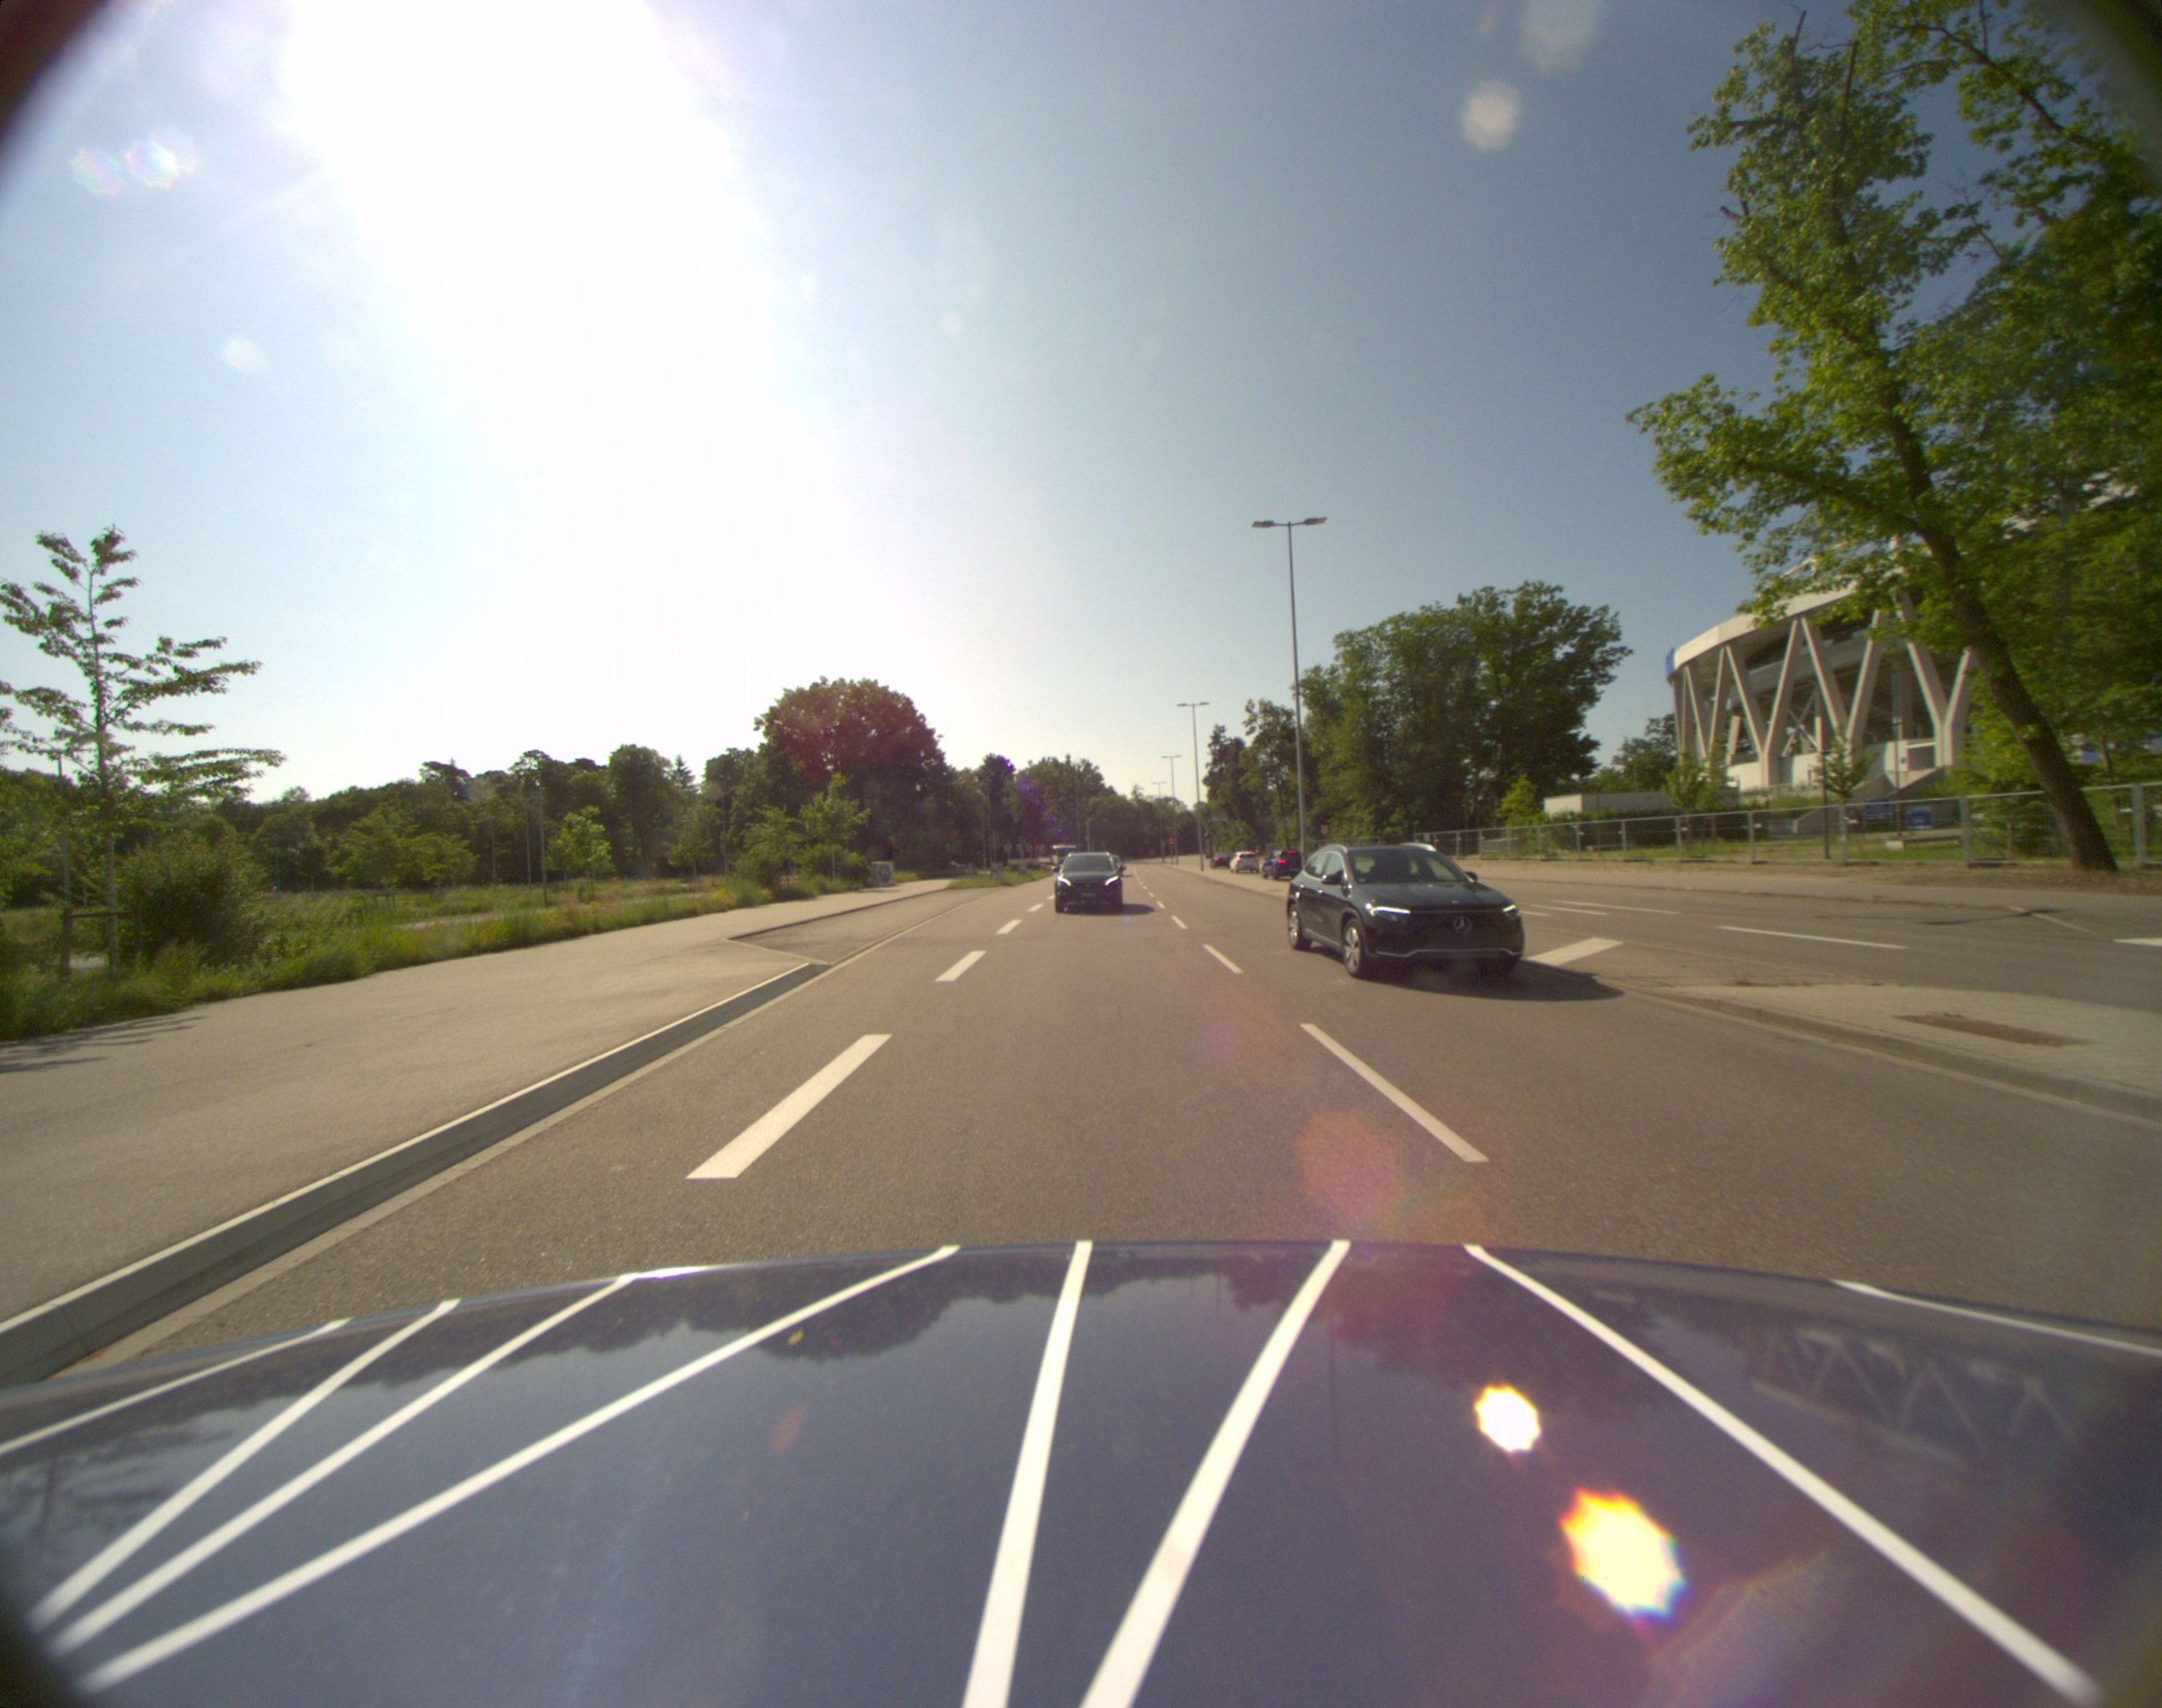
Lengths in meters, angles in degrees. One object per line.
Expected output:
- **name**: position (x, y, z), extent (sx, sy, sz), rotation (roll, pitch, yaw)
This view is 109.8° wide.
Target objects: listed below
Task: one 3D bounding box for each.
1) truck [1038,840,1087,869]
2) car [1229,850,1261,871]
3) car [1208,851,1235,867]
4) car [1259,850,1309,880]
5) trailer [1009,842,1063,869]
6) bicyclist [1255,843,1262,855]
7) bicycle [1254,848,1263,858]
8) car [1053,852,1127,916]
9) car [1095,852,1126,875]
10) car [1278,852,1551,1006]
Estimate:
- **truck**: position (-1.950, 0.126, 77.055), extent (2.683, 2.702, 6.191), rotation (-3, 0, -24)
- **car**: position (11.599, 0.421, 53.939), extent (1.627, 1.458, 3.800), rotation (0, 0, 2)
- **car**: position (12.698, 0.439, 68.772), extent (1.815, 1.380, 4.162), rotation (0, 0, 2)
- **car**: position (10.583, 0.525, 39.809), extent (1.757, 1.477, 3.948), rotation (-1, 0, 3)
- **trailer**: position (-4.982, 0.193, 82.631), extent (2.708, 2.672, 6.872), rotation (-3, 0, -33)
- **bicyclist**: position (21.780, -0.591, 93.210), extent (0.661, 1.459, 1.057), rotation (-4, 0, 2)
- **bicycle**: position (21.831, -0.149, 93.338), extent (0.661, 1.129, 1.879), rotation (-4, 0, 2)
- **car**: position (0.355, 0.766, 21.753), extent (1.702, 1.581, 4.321), rotation (-2, 0, 5)
- **car**: position (2.071, 0.637, 52.584), extent (1.932, 1.499, 4.001), rotation (-2, 0, 5)
- **car**: position (4.025, 0.781, 10.051), extent (1.809, 1.587, 4.273), rotation (0, 0, 1)
